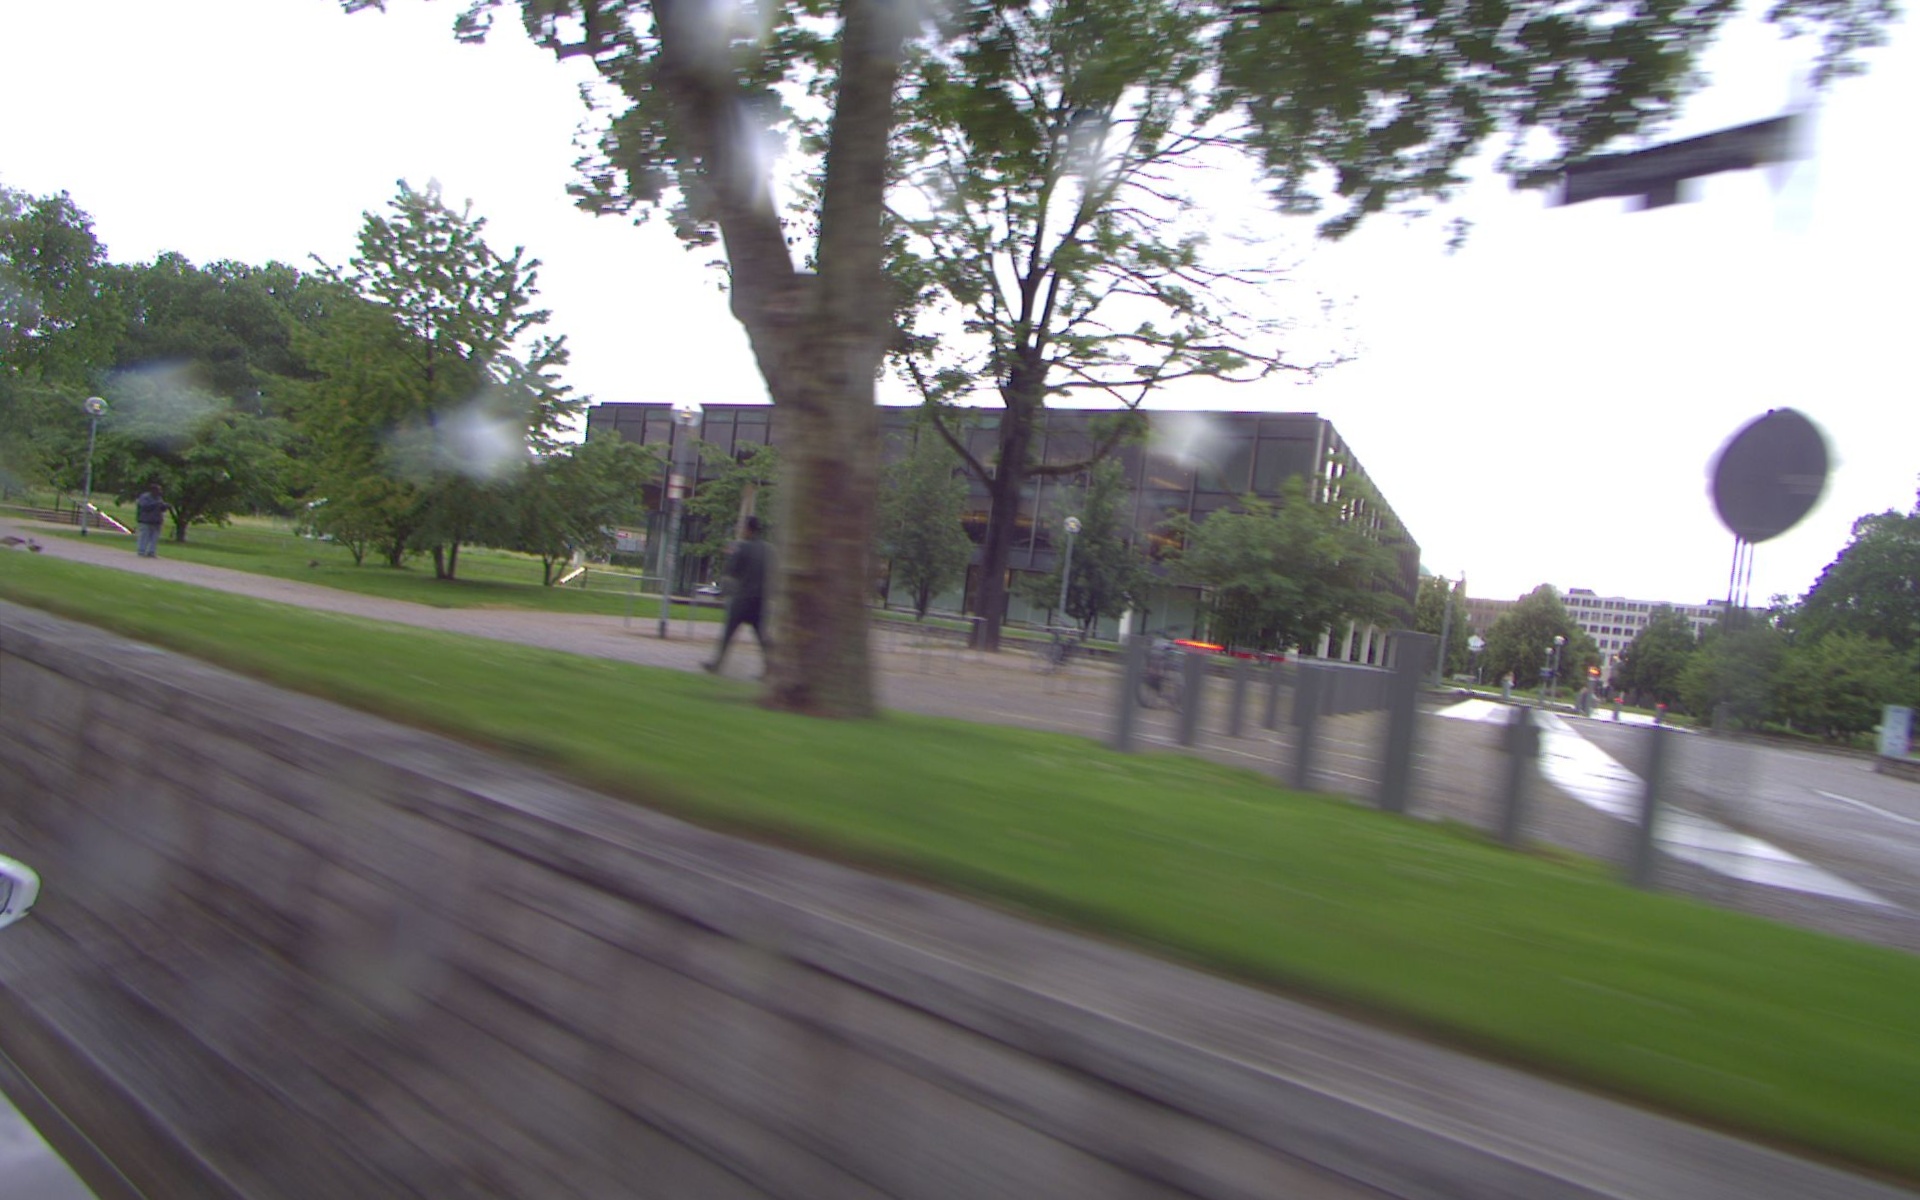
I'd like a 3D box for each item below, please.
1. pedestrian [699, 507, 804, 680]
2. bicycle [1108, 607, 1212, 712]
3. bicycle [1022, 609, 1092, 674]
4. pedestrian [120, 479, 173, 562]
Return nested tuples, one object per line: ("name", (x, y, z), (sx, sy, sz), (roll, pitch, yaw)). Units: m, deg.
("pedestrian", (-2.198, -0.063, 10.650), (0.681, 1.740, 0.705), (5, 1, 31))
("bicycle", (2.723, 0.783, 13.504), (0.942, 1.188, 2.041), (8, 0, 20))
("bicycle", (1.845, 0.791, 18.931), (0.697, 1.099, 1.645), (8, 0, 25))
("pedestrian", (-18.495, -1.802, 22.867), (0.713, 1.778, 0.595), (8, 2, 28))
